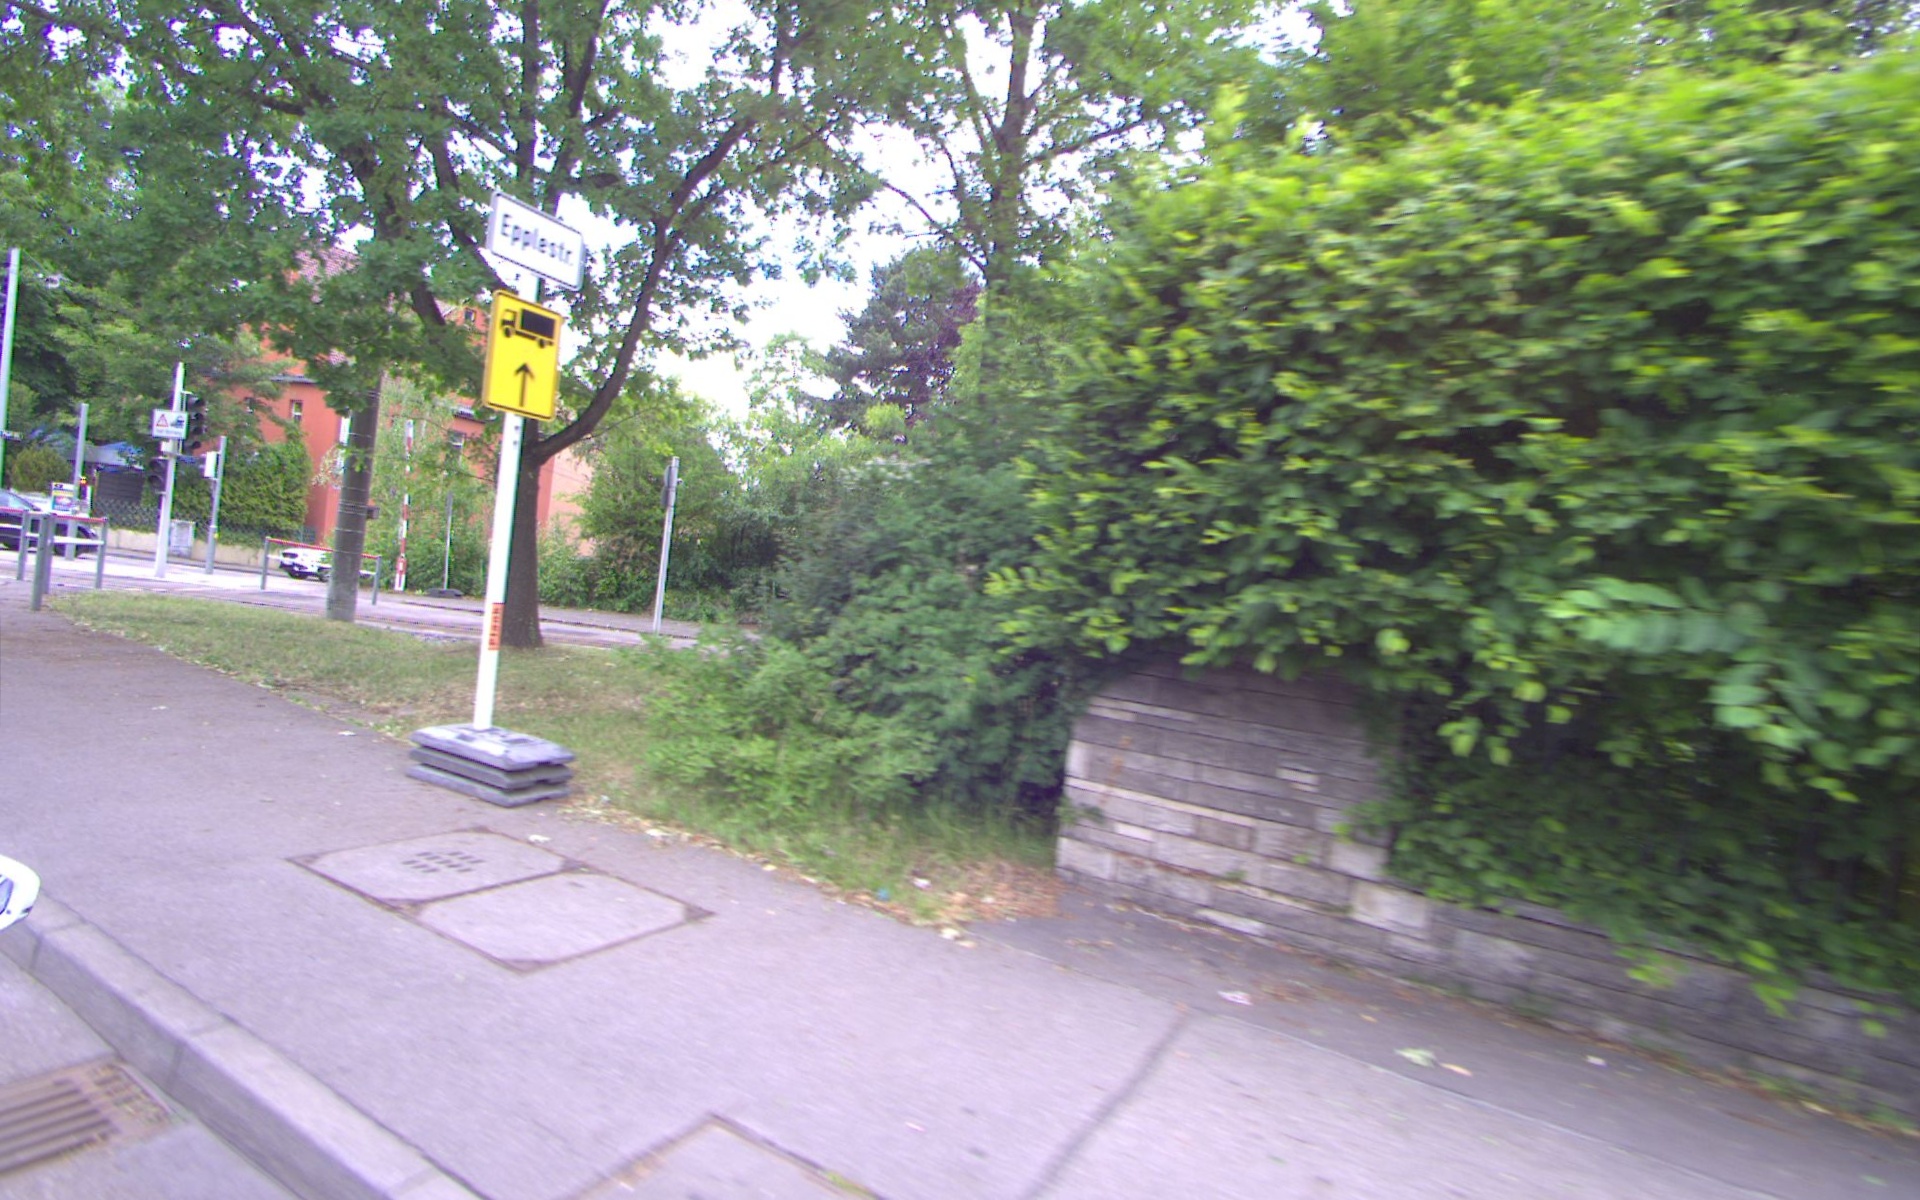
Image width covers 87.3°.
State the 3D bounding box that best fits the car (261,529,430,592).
[{"bbox_3d":[-20.628,-1.274,34.002,1.963,1.480,4.520,7,-1,21],"label":"car"}]

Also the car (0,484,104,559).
[{"bbox_3d":[-22.758,-2.004,22.933,1.962,1.480,4.523,7,-1,15],"label":"car"}]
